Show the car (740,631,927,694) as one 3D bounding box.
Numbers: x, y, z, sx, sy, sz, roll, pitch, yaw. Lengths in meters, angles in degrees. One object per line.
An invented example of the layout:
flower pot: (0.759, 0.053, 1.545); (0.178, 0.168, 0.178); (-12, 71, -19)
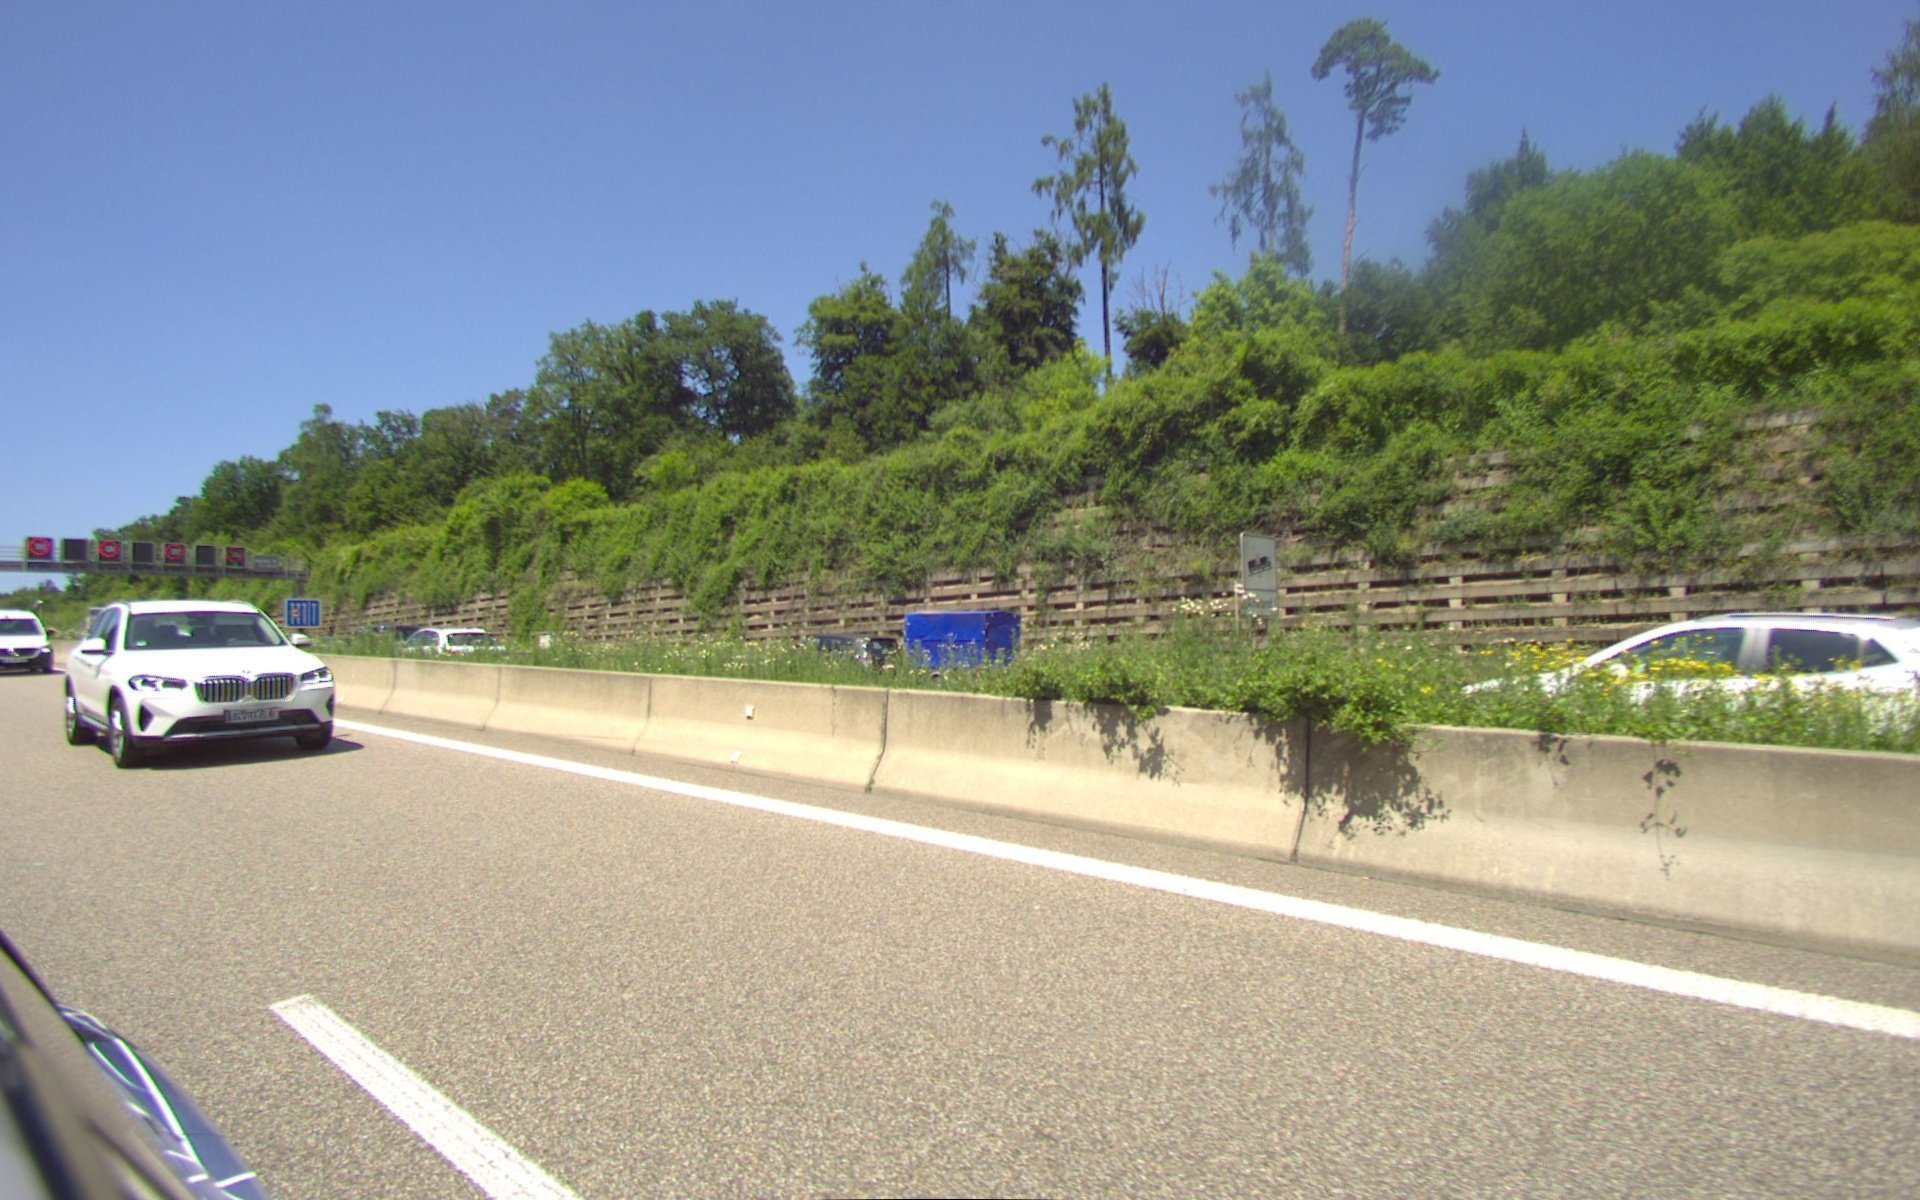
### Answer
car: (-3.512, 1.613, 27.254); (5.475, 1.533, 1.916); (-2, -3, 42)

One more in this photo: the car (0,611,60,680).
car: (-26.936, 1.307, 28.449); (4.500, 1.788, 1.972); (-3, 0, 43)

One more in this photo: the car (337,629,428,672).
car: (-21.854, 1.872, 38.263); (4.202, 1.533, 1.769); (-2, -3, 42)

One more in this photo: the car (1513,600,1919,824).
car: (6.865, 0.799, 7.904); (4.200, 1.533, 1.770); (-2, -3, 40)

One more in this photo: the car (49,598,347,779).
car: (-8.755, 0.854, 11.485); (4.366, 1.656, 1.826); (-1, -1, 41)

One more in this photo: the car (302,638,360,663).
car: (-39.517, 3.154, 63.517); (4.201, 1.533, 1.917); (-2, -3, 41)

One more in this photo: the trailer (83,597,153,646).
trailer: (-76.028, 2.020, 91.237); (14.179, 4.046, 2.652); (-3, -2, 41)

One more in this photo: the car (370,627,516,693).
car: (-13.148, 1.464, 25.664); (4.199, 1.533, 1.770); (-2, -3, 40)

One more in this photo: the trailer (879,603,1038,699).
trailer: (-0.079, 1.195, 24.276); (3.494, 2.133, 1.875); (-2, -3, 42)

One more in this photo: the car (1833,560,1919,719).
car: (11.007, 0.369, 9.495); (4.202, 1.533, 1.916); (-2, -3, 42)
